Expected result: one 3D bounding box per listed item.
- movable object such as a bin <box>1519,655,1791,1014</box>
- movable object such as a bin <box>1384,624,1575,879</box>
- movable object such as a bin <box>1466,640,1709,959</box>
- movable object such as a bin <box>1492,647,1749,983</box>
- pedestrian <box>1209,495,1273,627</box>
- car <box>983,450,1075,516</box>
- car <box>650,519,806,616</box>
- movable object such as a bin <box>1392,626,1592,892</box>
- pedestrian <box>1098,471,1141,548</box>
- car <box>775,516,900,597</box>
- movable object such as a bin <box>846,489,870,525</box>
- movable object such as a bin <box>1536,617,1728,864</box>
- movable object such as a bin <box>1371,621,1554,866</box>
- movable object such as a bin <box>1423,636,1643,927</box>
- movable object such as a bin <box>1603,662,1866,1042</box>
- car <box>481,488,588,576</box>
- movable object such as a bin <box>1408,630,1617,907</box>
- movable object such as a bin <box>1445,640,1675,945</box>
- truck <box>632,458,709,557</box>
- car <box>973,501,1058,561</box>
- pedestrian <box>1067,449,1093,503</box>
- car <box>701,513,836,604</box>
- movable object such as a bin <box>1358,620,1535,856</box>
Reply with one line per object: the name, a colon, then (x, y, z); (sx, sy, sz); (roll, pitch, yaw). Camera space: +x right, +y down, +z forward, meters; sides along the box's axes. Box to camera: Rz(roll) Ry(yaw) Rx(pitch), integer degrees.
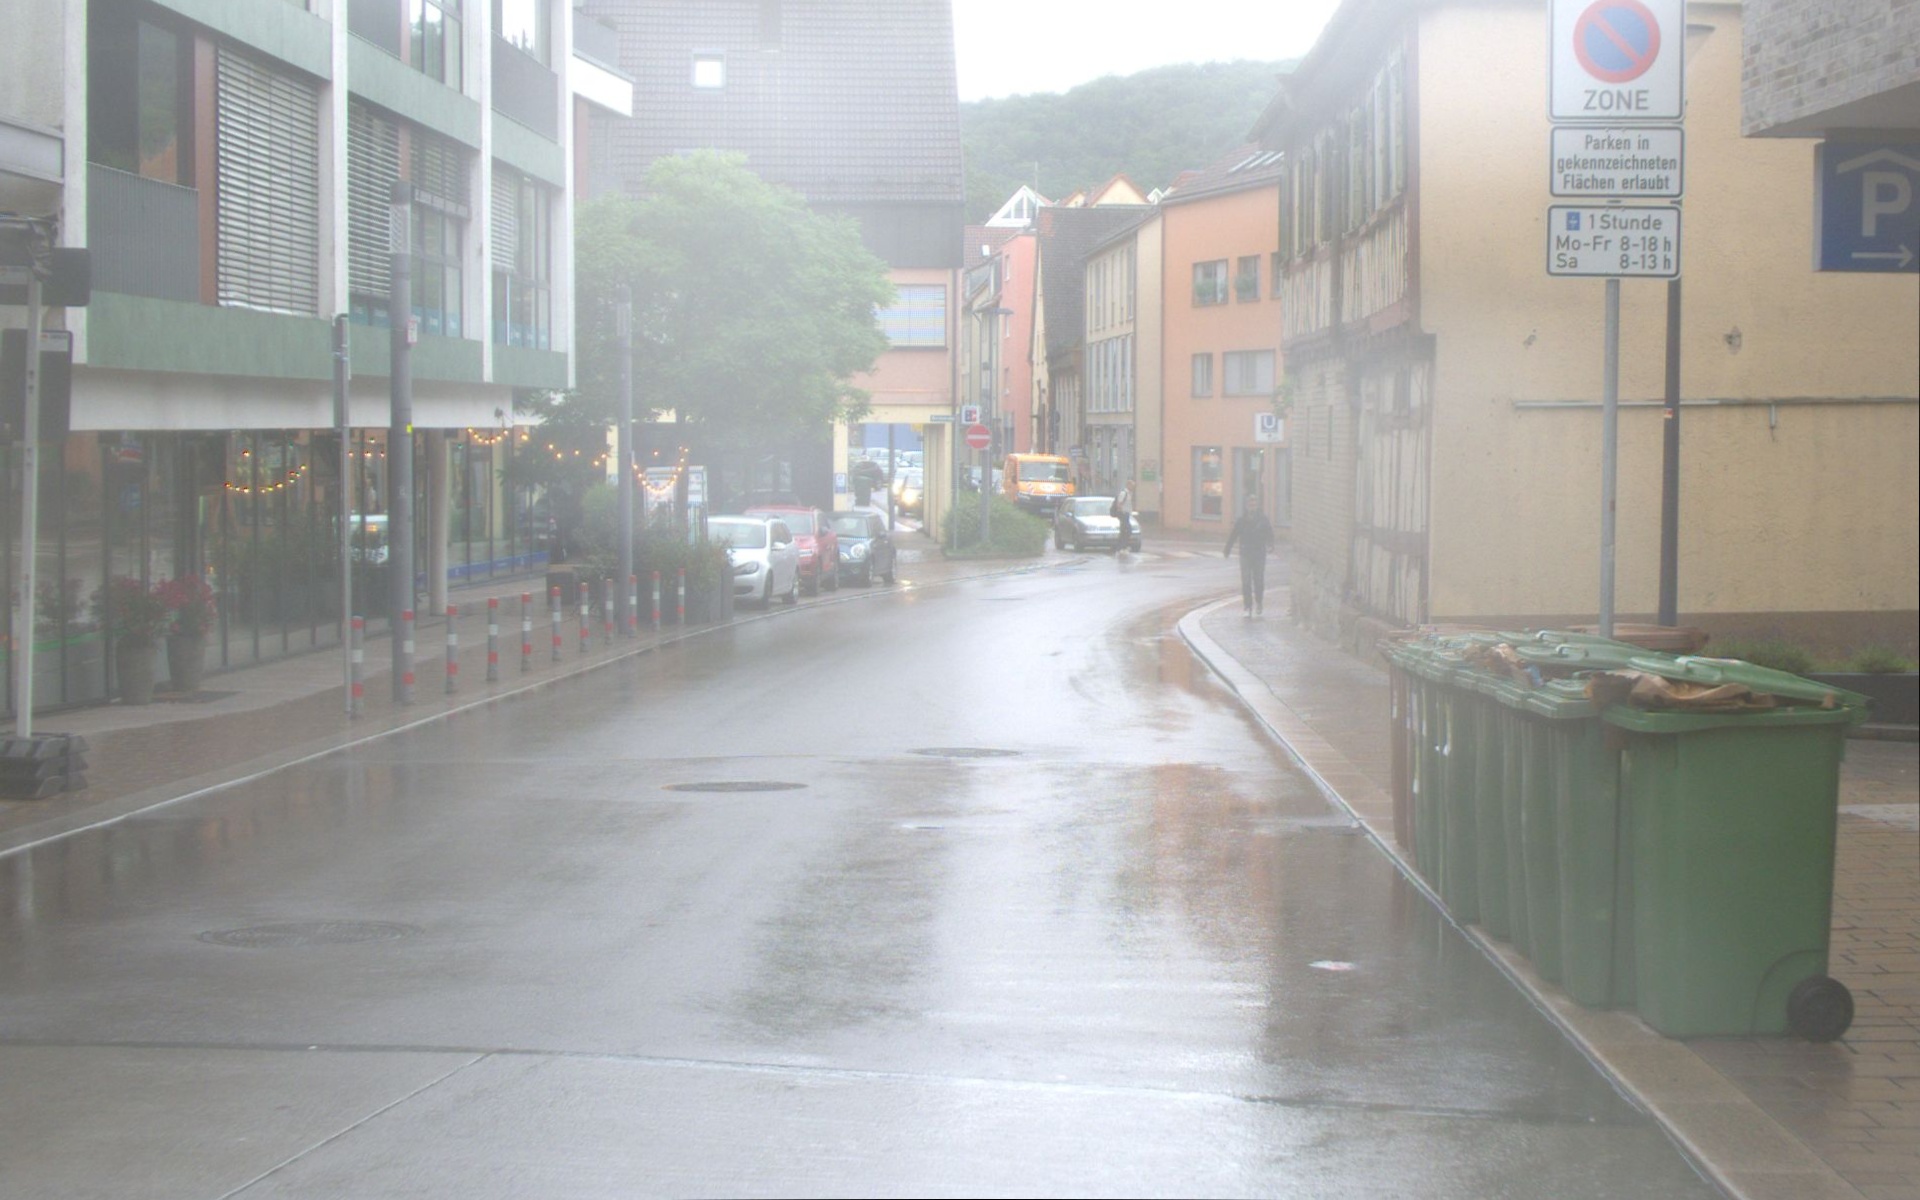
movable object such as a bin: (2.237, 0.743, 11.125); (0.740, 1.091, 0.657); (-1, 1, 1)
movable object such as a bin: (2.317, 0.667, 15.382); (0.766, 1.091, 0.581); (-1, 1, 1)
movable object such as a bin: (2.247, 0.704, 12.372); (0.766, 1.091, 0.581); (-1, 1, 1)
movable object such as a bin: (2.249, 0.724, 11.769); (0.766, 1.091, 0.581); (-1, 1, 1)
pedestrian: (4.071, -0.577, 49.847); (0.810, 1.878, 0.908); (-2, 2, 0)
car: (2.292, -3.917, 115.458); (2.103, 2.139, 4.869); (-2, 2, -10)
car: (-3.726, -0.565, 55.950); (1.787, 1.493, 4.454); (0, 1, 6)
movable object such as a bin: (2.277, 0.673, 14.763); (0.766, 1.091, 0.581); (-1, 1, 1)
pedestrian: (3.981, -2.271, 85.754); (0.862, 1.908, 0.757); (1, 2, 22)
car: (-2.344, -0.867, 66.704); (1.715, 1.453, 3.909); (2, 2, 8)
movable object such as a bin: (-3.961, -3.614, 133.673); (0.834, 1.377, 0.854); (0, 2, -8)
movable object such as a bin: (3.098, 0.639, 15.899); (0.766, 1.091, 0.627); (-1, 1, 1)
movable object such as a bin: (2.327, 0.659, 15.975); (0.766, 1.091, 0.581); (-1, 1, 1)
movable object such as a bin: (2.251, 0.705, 13.560); (0.766, 1.091, 0.581); (-1, 1, 1)
movable object such as a bin: (2.343, 0.751, 10.451); (0.663, 1.091, 0.551); (-1, 1, 0)
car: (-10.030, -1.631, 81.278); (1.812, 1.611, 4.002); (0, 8, 3)
movable object such as a bin: (2.269, 0.685, 14.169); (0.766, 1.091, 0.581); (-1, 1, 1)
movable object such as a bin: (2.252, 0.713, 12.960); (0.766, 1.091, 0.581); (-1, 1, 1)
truck: (-6.897, -2.229, 82.207); (1.597, 2.055, 3.194); (-2, 6, -1)
car: (1.422, -1.816, 89.647); (1.714, 1.453, 3.911); (1, 2, -6)
pedestrian: (4.453, -4.599, 127.410); (0.866, 2.006, 0.708); (0, 2, -7)
car: (-3.397, -0.772, 61.775); (1.787, 1.571, 4.106); (0, 1, 6)
movable object such as a bin: (2.338, 0.656, 16.575); (0.766, 1.091, 0.581); (-1, 1, 1)
